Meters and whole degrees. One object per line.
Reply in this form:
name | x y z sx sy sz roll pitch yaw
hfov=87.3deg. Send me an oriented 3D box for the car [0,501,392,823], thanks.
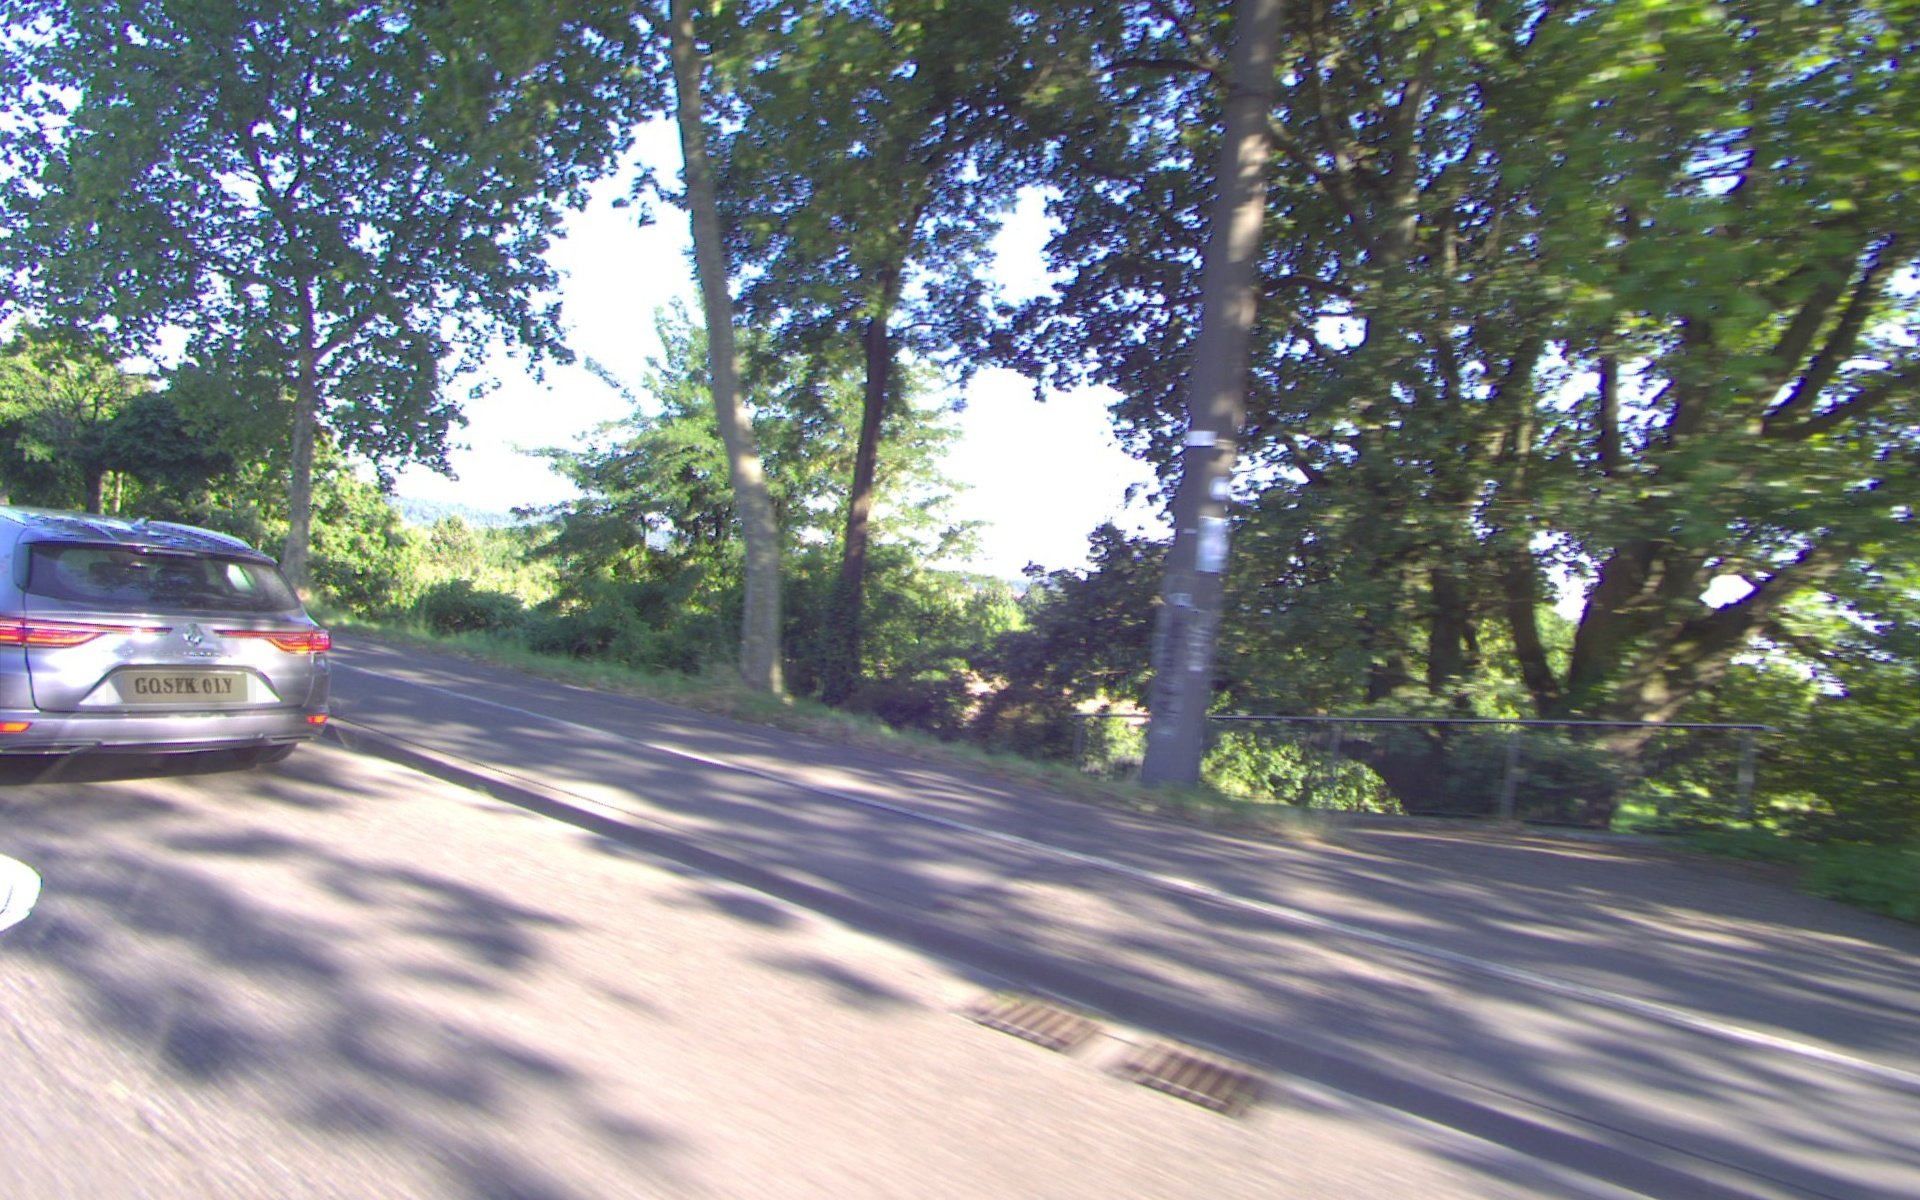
car | -5.905 0.142 6.508 4.590 1.485 1.868 6 -1 33
